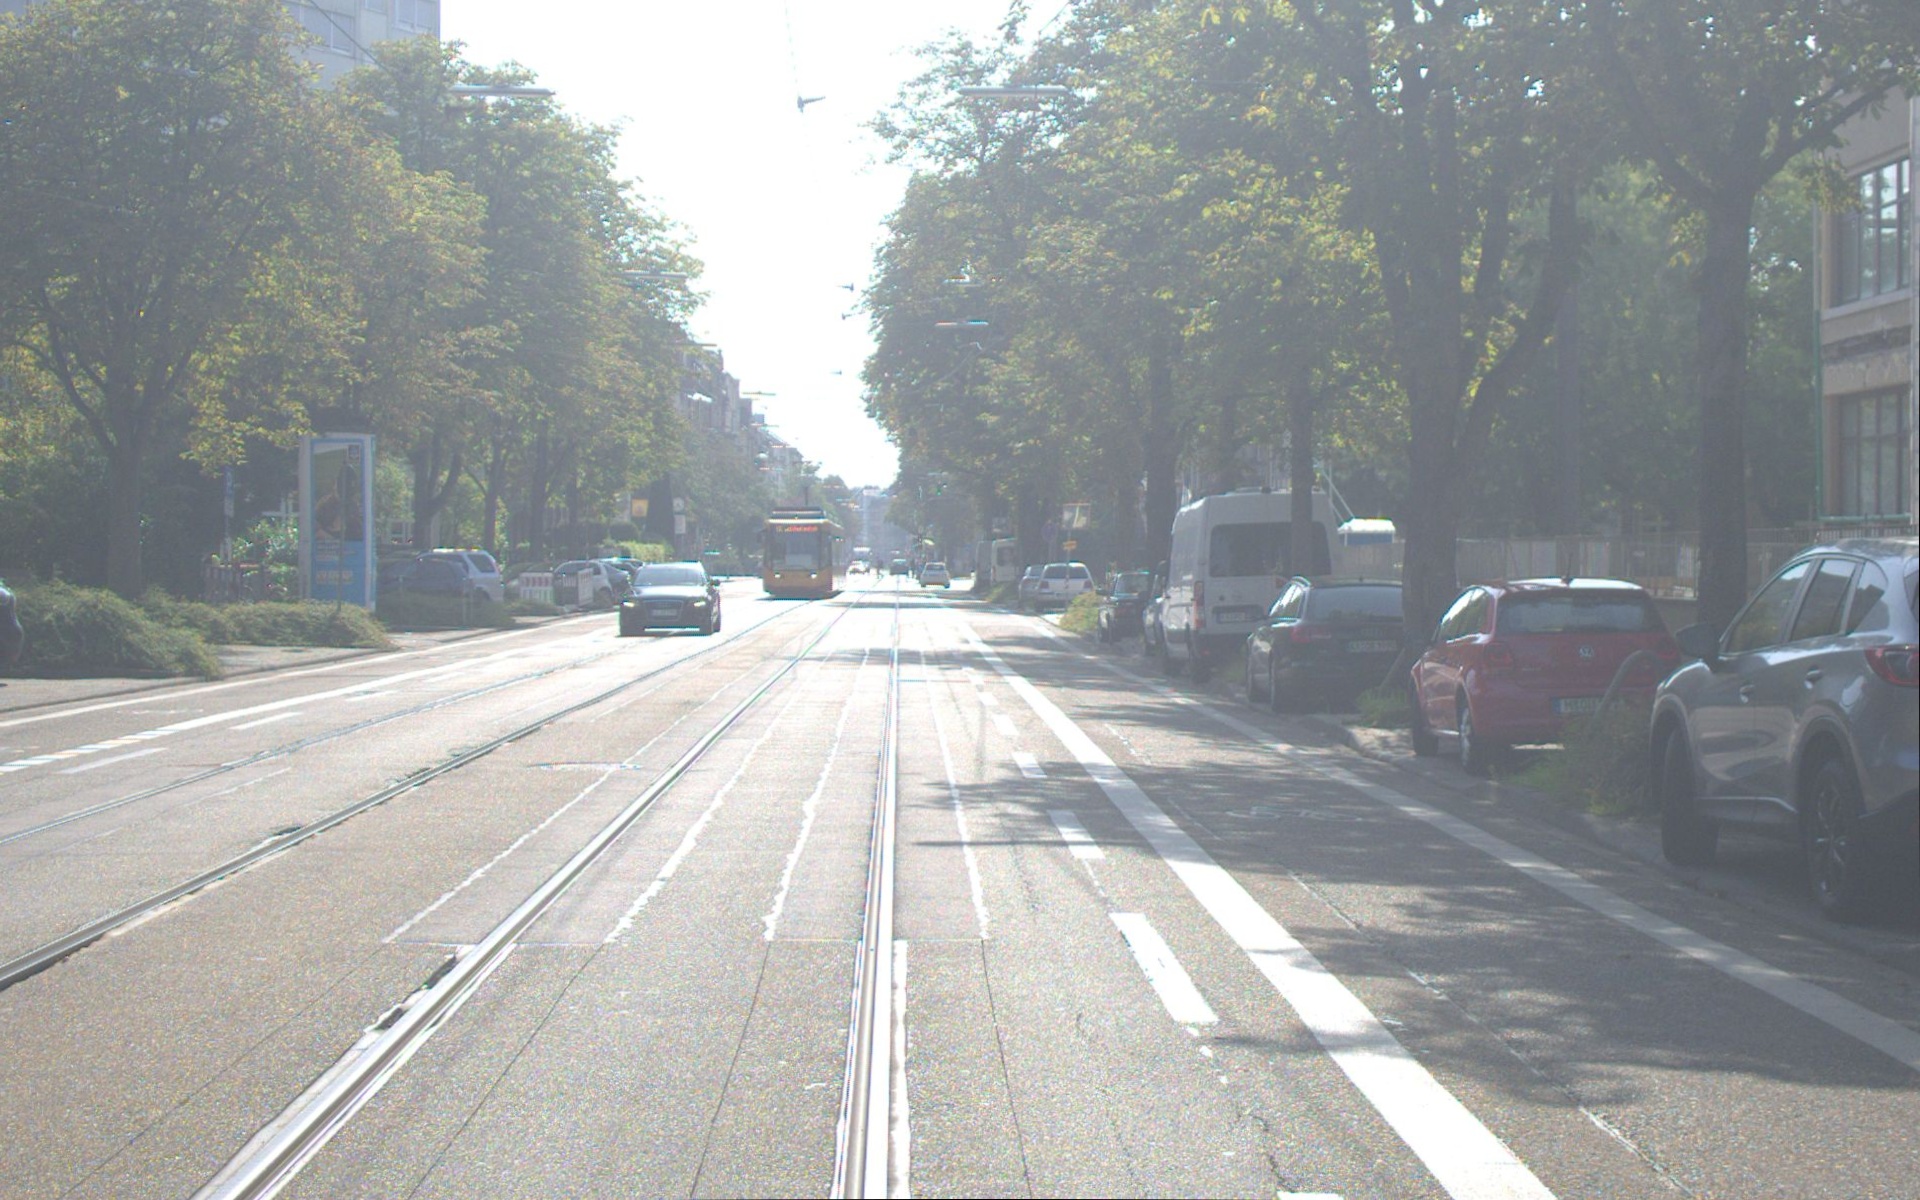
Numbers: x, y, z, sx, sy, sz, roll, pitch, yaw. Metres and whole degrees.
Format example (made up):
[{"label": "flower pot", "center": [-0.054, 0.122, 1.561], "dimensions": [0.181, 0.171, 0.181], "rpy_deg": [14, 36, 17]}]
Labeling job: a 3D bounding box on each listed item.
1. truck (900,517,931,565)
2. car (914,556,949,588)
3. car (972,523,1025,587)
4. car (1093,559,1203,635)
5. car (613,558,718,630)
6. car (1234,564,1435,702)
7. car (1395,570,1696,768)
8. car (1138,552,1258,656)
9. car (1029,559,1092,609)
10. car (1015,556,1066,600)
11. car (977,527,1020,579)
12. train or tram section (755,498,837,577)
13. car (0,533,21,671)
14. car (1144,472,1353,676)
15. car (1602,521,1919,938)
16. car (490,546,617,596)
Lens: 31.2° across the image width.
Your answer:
[{"label": "truck", "center": [-2.983, -3.951, 230.151], "dimensions": [1.860, 3.120, 4.353], "rpy_deg": [1, 1, -3]}, {"label": "car", "center": [-1.669, -1.662, 202.699], "dimensions": [1.993, 1.831, 4.000], "rpy_deg": [1, 1, 0]}, {"label": "car", "center": [1.573, -1.830, 141.558], "dimensions": [2.004, 2.482, 4.477], "rpy_deg": [3, 0, 0]}, {"label": "car", "center": [3.578, -0.088, 66.054], "dimensions": [1.753, 1.373, 4.719], "rpy_deg": [-1, 1, -1]}, {"label": "car", "center": [-5.848, -0.145, 68.693], "dimensions": [1.828, 1.371, 4.513], "rpy_deg": [1, 1, -2]}, {"label": "car", "center": [3.953, 0.309, 36.932], "dimensions": [1.616, 1.369, 4.827], "rpy_deg": [0, 1, 0]}, {"label": "car", "center": [4.458, 0.478, 26.704], "dimensions": [1.616, 1.409, 4.000], "rpy_deg": [0, 1, -1]}, {"label": "car", "center": [3.883, 0.036, 56.606], "dimensions": [1.664, 1.611, 3.877], "rpy_deg": [-1, 1, 0]}, {"label": "car", "center": [2.904, -0.486, 99.857], "dimensions": [1.689, 1.413, 3.634], "rpy_deg": [1, 1, 0]}, {"label": "car", "center": [2.641, -0.742, 113.389], "dimensions": [1.595, 1.413, 3.634], "rpy_deg": [1, 1, 0]}, {"label": "car", "center": [1.880, -2.312, 168.462], "dimensions": [2.004, 2.467, 4.477], "rpy_deg": [1, 1, 0]}, {"label": "train or tram section", "center": [-6.335, -2.397, 134.986], "dimensions": [2.729, 2.884, 15.456], "rpy_deg": [0, 1, -1]}, {"label": "car", "center": [-12.355, -0.039, 37.799], "dimensions": [3.633, 1.510, 1.622], "rpy_deg": [2, 1, -26]}, {"label": "car", "center": [3.878, -0.373, 47.196], "dimensions": [2.082, 2.544, 5.502], "rpy_deg": [-3, 1, -2]}, {"label": "car", "center": [4.420, 0.492, 16.139], "dimensions": [1.753, 1.685, 4.397], "rpy_deg": [1, 1, -3]}, {"label": "car", "center": [-12.168, -0.868, 103.067], "dimensions": [1.569, 1.438, 3.755], "rpy_deg": [1, 1, 39]}]
